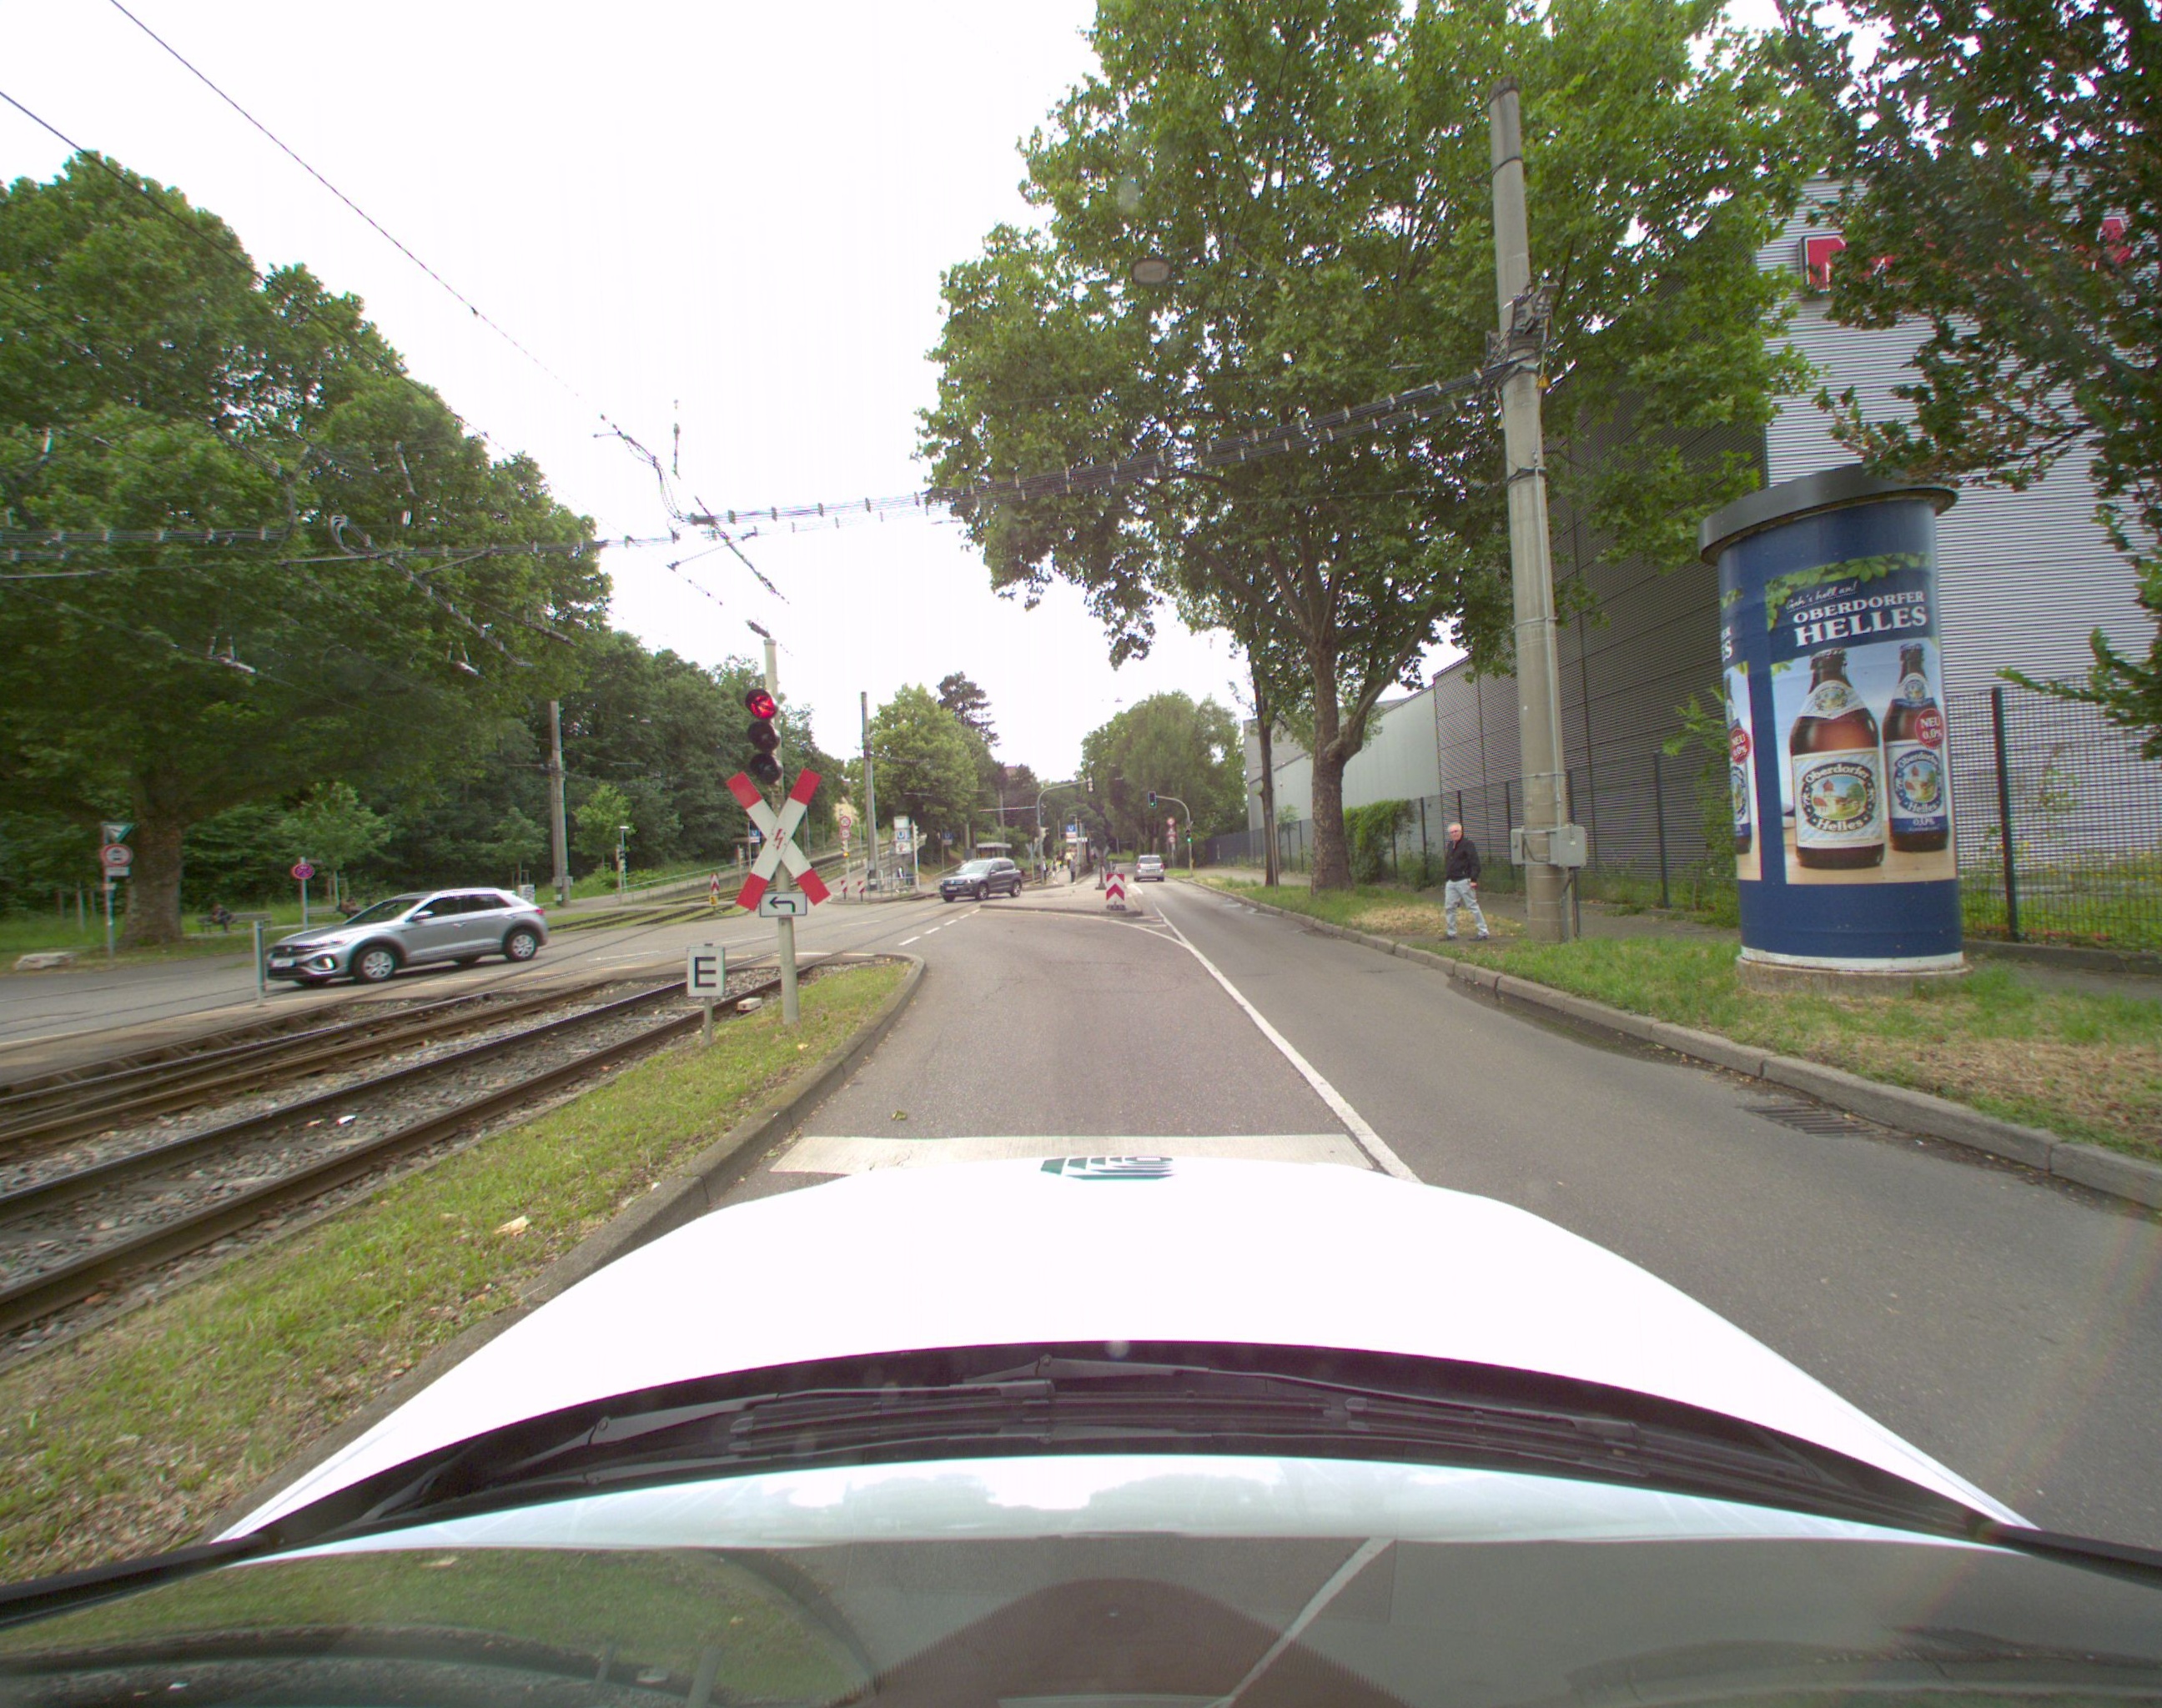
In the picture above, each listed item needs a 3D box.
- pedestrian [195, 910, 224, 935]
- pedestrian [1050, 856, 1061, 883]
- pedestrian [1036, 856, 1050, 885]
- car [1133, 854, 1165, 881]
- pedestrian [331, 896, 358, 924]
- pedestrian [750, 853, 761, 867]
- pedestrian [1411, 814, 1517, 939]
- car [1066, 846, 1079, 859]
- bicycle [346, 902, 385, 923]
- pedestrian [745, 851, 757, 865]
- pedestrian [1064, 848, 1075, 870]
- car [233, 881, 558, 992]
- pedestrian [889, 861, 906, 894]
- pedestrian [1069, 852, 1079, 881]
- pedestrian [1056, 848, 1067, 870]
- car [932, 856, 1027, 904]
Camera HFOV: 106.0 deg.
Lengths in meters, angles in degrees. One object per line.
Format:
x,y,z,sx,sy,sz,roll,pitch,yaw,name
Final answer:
-35.439,2.781,33.114,0.526,0.989,0.623,-1,-1,17,pedestrian
-1.600,0.983,51.178,0.733,1.665,0.681,0,-1,-2,pedestrian
-2.194,0.951,46.676,0.732,1.665,0.682,0,-1,3,pedestrian
4.172,0.849,50.543,1.737,1.599,4.001,0,-1,2,car
-33.528,2.553,37.075,0.574,1.235,0.676,-1,-1,15,pedestrian
-30.702,0.540,76.811,0.771,1.326,0.785,0,-1,-6,pedestrian
5.794,0.338,12.318,1.125,1.760,0.804,-4,-4,-34,pedestrian
-1.365,-0.271,134.821,1.986,2.014,4.001,0,-1,2,car
-33.544,2.731,38.175,1.726,0.885,0.625,-1,-1,21,bicycle
-30.650,0.374,75.601,0.771,1.326,0.785,0,2,-6,pedestrian
-0.838,0.381,61.562,0.735,1.665,0.679,0,-1,-9,pedestrian
-12.665,1.451,15.437,1.977,1.578,4.199,-3,0,20,car
-10.286,1.327,45.649,0.663,1.821,0.808,-1,-1,14,pedestrian
-0.452,0.776,50.955,0.547,1.758,0.739,0,-1,6,pedestrian
-1.423,0.364,60.696,0.735,1.665,0.679,0,-1,-9,pedestrian
-4.086,1.015,33.474,1.883,1.718,4.160,-5,-2,25,car
